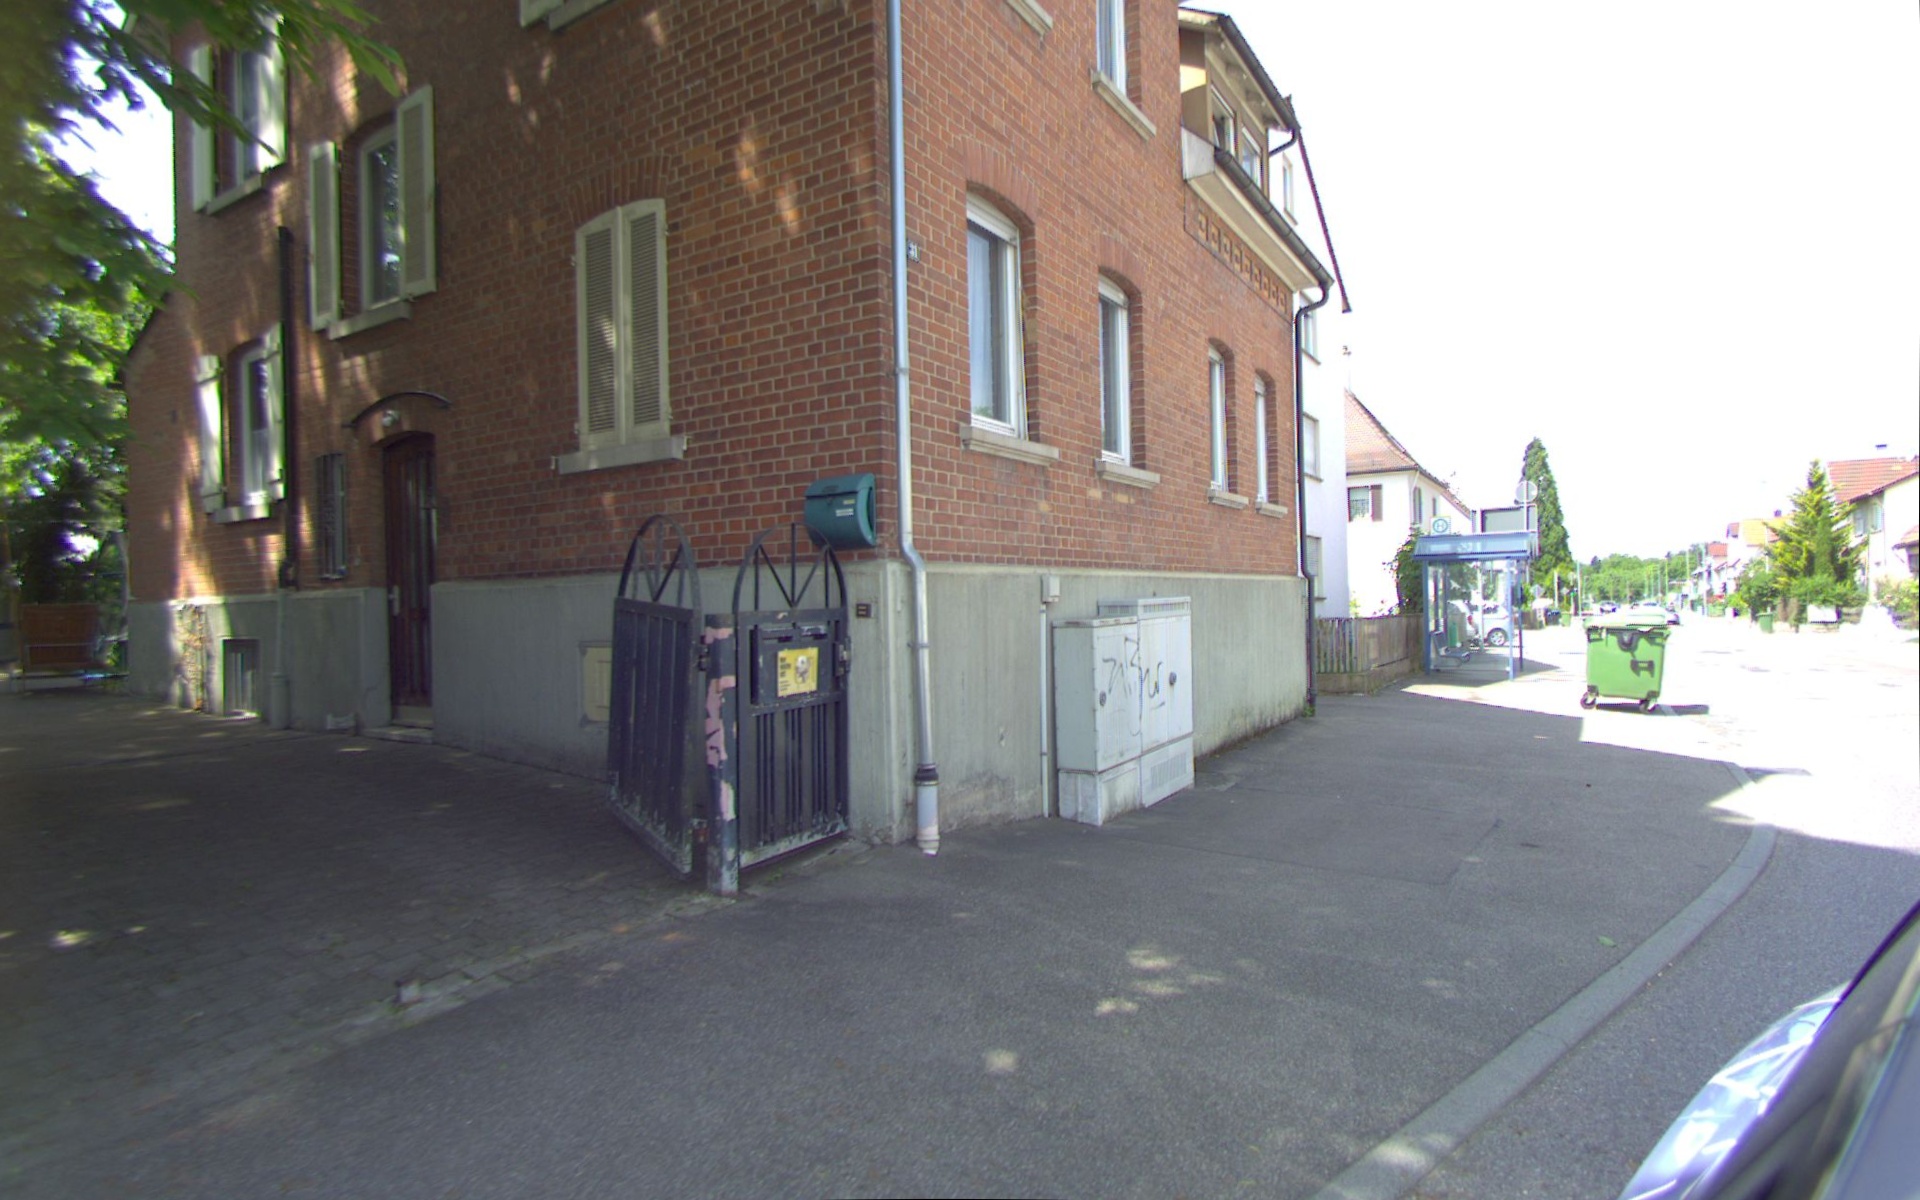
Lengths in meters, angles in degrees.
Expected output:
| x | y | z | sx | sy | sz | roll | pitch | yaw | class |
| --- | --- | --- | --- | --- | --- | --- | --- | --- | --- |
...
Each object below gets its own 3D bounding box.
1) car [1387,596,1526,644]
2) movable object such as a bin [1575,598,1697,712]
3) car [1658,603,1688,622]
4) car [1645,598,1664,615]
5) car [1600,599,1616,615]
| x | y | z | sx | sy | sz | roll | pitch | yaw | class |
| --- | --- | --- | --- | --- | --- | --- | --- | --- | --- |
| 17.033 | 0.689 | 34.893 | 3.935 | 1.591 | 1.759 | 0 | -1 | 10 | car |
| 9.670 | 0.742 | 14.564 | 1.344 | 1.540 | 1.278 | 0 | -1 | 30 | movable object such as a bin |
| 54.194 | 0.933 | 76.940 | 1.637 | 1.374 | 3.525 | -1 | 0 | 32 | car |
| 69.597 | 0.663 | 101.422 | 1.400 | 1.721 | 3.278 | -1 | -1 | 32 | car |
| 72.741 | 0.748 | 113.612 | 1.400 | 1.721 | 3.278 | -1 | -1 | 32 | car |
